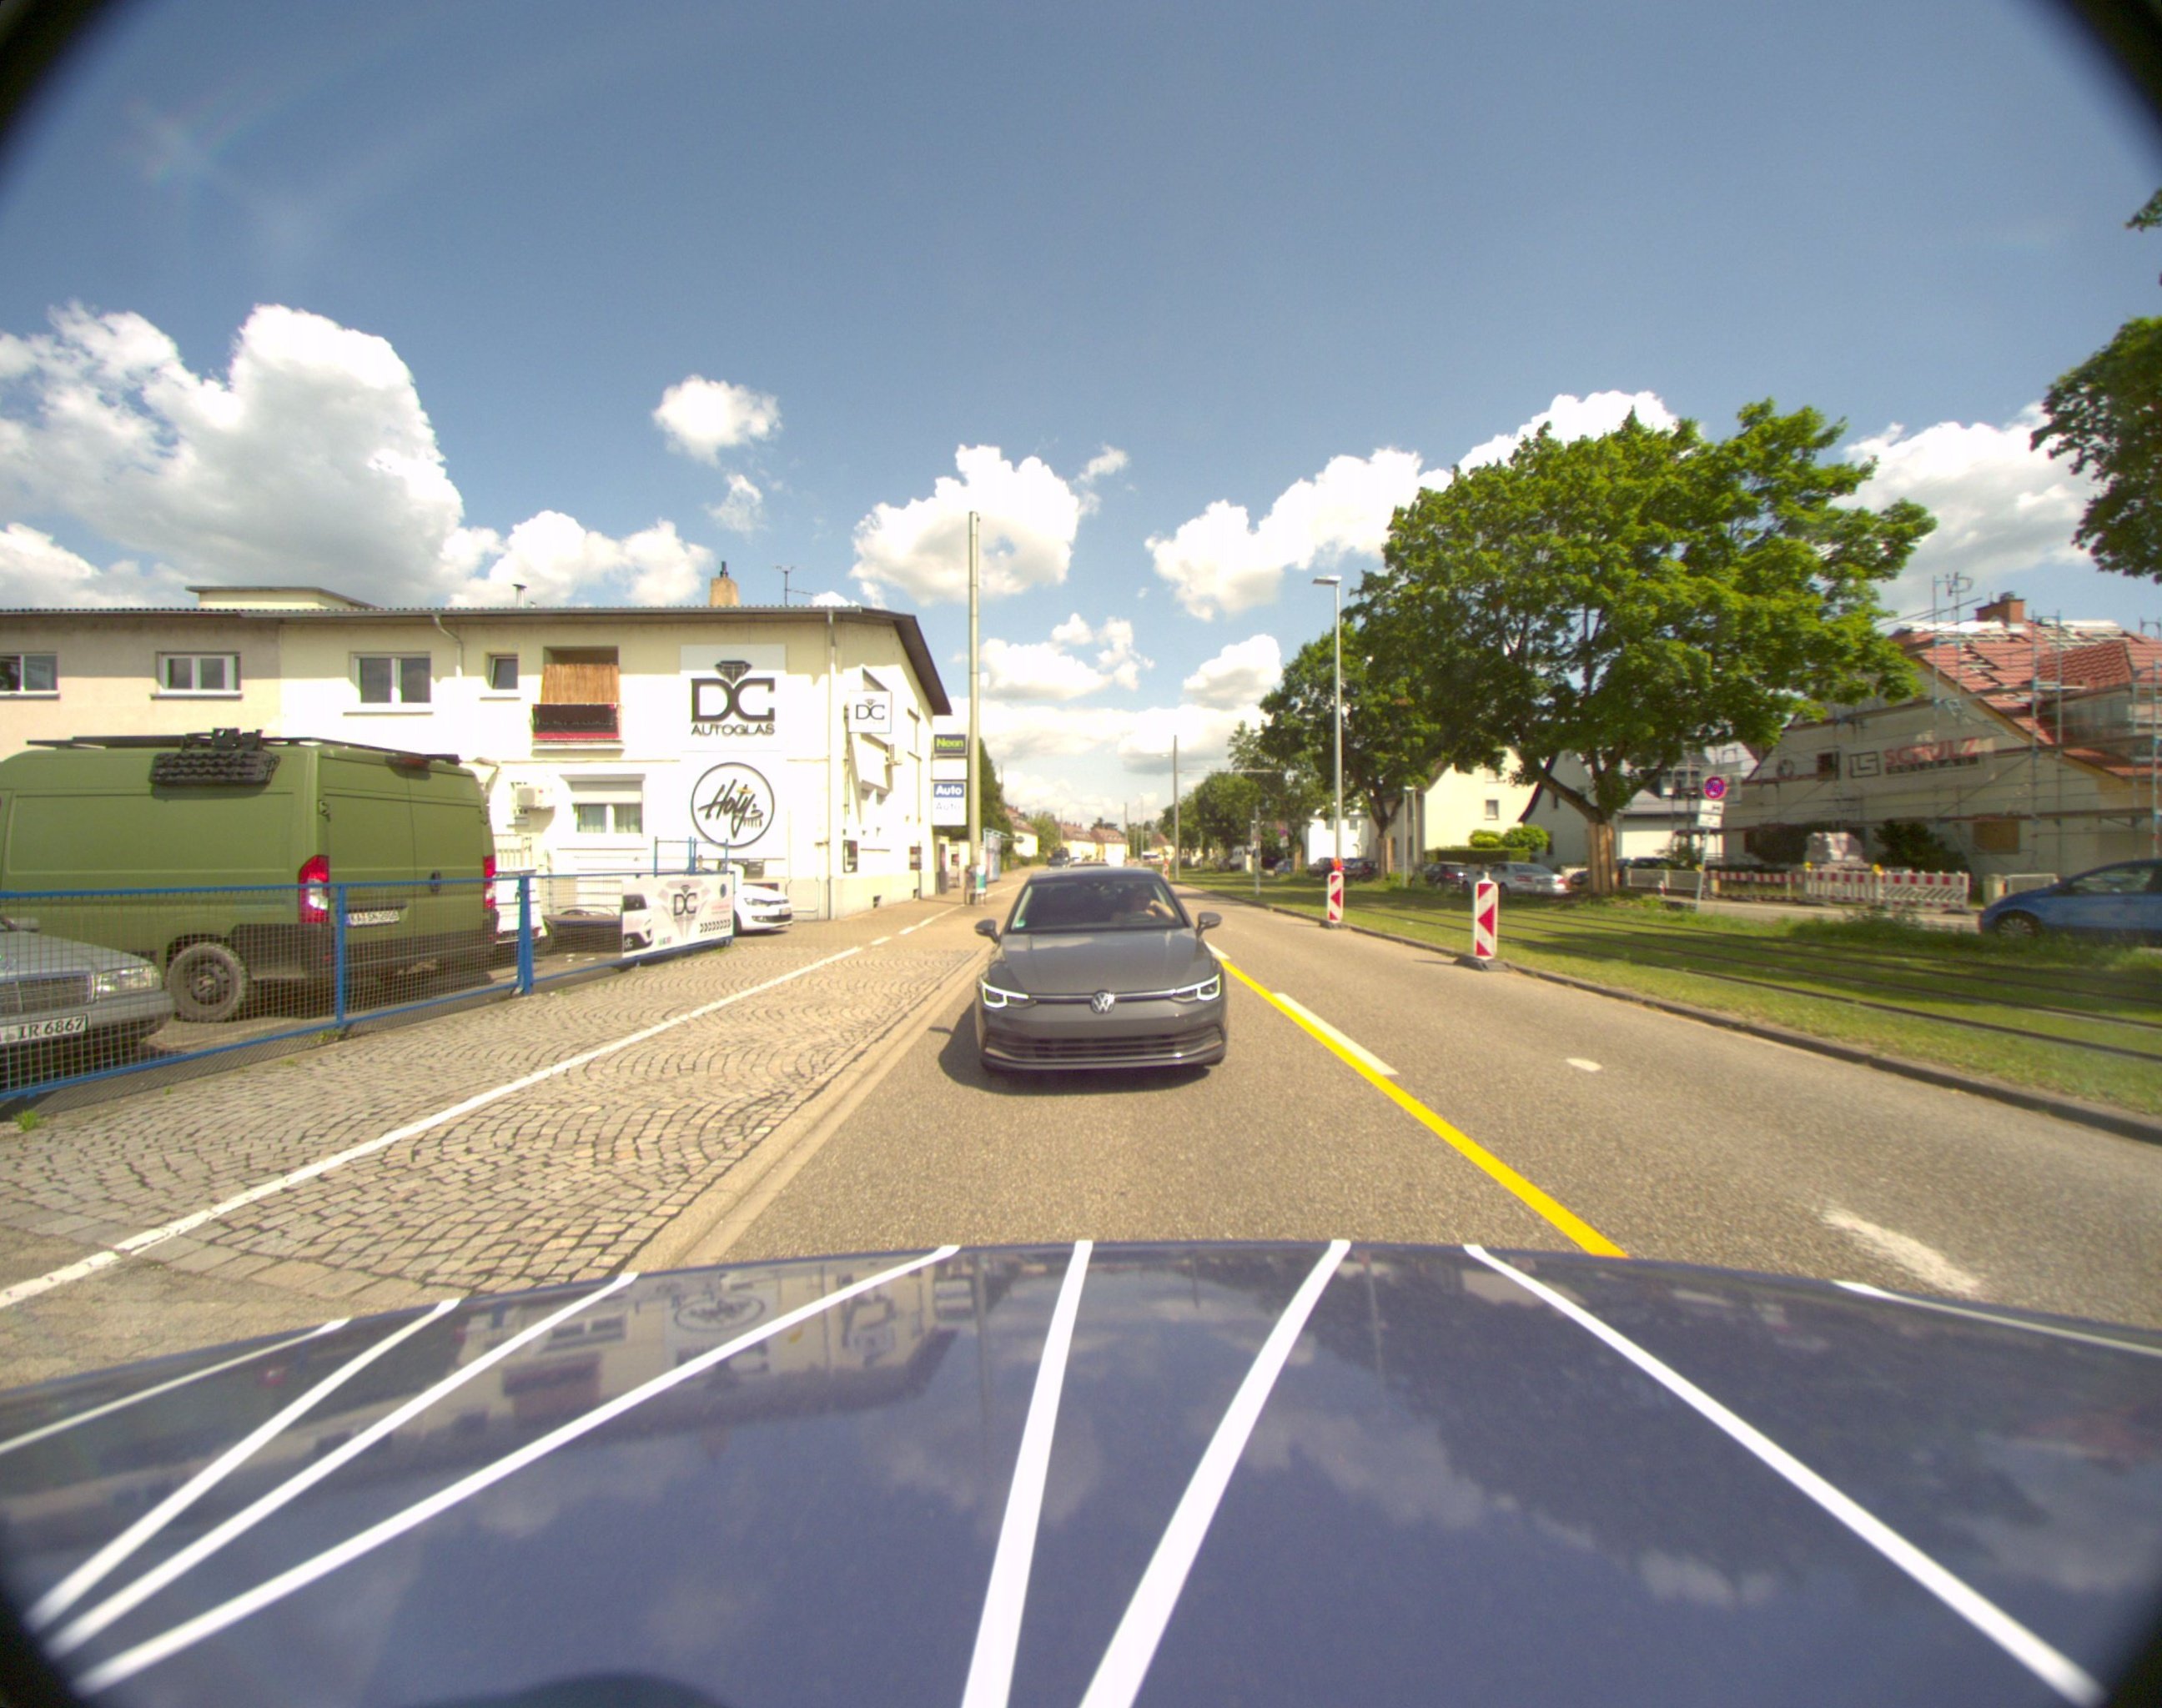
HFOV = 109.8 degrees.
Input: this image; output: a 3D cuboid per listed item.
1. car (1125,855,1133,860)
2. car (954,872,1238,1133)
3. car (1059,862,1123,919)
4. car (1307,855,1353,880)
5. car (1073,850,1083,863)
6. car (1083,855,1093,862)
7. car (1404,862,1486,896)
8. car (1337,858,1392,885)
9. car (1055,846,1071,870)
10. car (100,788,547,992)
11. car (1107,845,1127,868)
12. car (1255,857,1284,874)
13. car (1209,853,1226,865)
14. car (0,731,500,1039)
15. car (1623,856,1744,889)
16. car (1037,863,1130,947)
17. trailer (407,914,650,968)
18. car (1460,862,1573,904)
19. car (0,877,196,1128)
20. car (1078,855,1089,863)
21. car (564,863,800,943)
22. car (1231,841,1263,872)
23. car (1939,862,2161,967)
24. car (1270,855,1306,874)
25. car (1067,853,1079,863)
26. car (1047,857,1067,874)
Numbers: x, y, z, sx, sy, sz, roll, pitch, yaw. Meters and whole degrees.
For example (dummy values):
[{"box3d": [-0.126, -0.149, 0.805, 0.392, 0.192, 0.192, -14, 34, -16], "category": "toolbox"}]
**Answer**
[{"box3d": [13.806, 0.956, 218.687, 1.700, 1.574, 4.005, 0, 0, 16], "category": "car"}, {"box3d": [0.119, 0.940, 6.566, 1.702, 1.477, 4.000, 0, 0, 1], "category": "car"}, {"box3d": [0.288, 0.986, 22.232, 1.702, 1.477, 4.000, 0, 0, 1], "category": "car"}, {"box3d": [16.545, 0.905, 50.666, 1.702, 1.562, 4.407, -1, -1, 1], "category": "car"}, {"box3d": [-0.501, 0.428, 136.407, 1.701, 2.233, 4.947, 0, 0, 2], "category": "car"}, {"box3d": [1.430, 0.915, 155.842, 1.701, 1.574, 4.002, 0, 0, 7], "category": "car"}, {"box3d": [16.617, 1.127, 34.942, 1.702, 1.477, 4.407, -1, -1, 1], "category": "car"}, {"box3d": [16.761, 1.042, 45.160, 1.702, 1.477, 4.407, -1, -1, 1], "category": "car"}, {"box3d": [-1.924, 0.455, 82.443, 1.702, 2.510, 5.144, 0, 0, 0], "category": "car"}, {"box3d": [-9.507, 0.427, 9.752, 4.207, 2.392, 1.586, 0, 0, 2], "category": "car"}, {"box3d": [3.945, 0.282, 84.506, 2.090, 2.449, 5.842, 2, 0, 2], "category": "car"}, {"box3d": [17.636, 1.085, 71.332, 1.702, 1.477, 4.407, -1, -1, 1], "category": "car"}, {"box3d": [18.759, 0.683, 104.737, 1.701, 1.477, 4.407, -1, -1, 2], "category": "car"}, {"box3d": [-8.733, 0.274, 7.613, 4.207, 2.627, 2.113, 0, 0, 2], "category": "car"}, {"box3d": [28.897, 0.897, 36.516, 4.402, 1.477, 1.704, -1, -1, 1], "category": "car"}, {"box3d": [0.072, 0.945, 15.816, 1.702, 1.477, 4.000, 0, 0, 1], "category": "car"}, {"box3d": [-8.375, 1.310, 11.663, 2.733, 0.662, 1.329, 0, 0, -1], "category": "trailer"}, {"box3d": [16.412, 1.072, 28.941, 1.788, 1.477, 4.523, -1, -1, 2], "category": "car"}, {"box3d": [-8.466, 0.891, 4.777, 4.282, 1.444, 1.713, 0, 0, 8], "category": "car"}, {"box3d": [0.472, 0.911, 146.711, 1.701, 1.574, 4.002, 0, 0, 6], "category": "car"}, {"box3d": [-7.669, 0.919, 14.821, 3.775, 1.454, 1.555, 0, 0, 2], "category": "car"}, {"box3d": [16.807, 0.281, 77.276, 2.136, 3.019, 5.084, -1, -1, 1], "category": "car"}, {"box3d": [16.205, 0.872, 11.404, 1.702, 1.477, 4.407, -1, -1, 1], "category": "car"}, {"box3d": [16.634, 0.882, 61.286, 1.702, 1.477, 4.407, -1, -1, 1], "category": "car"}, {"box3d": [-1.327, 0.680, 123.044, 1.701, 1.574, 4.001, 0, 0, 3], "category": "car"}, {"box3d": [-2.196, 1.053, 70.758, 1.702, 1.574, 4.000, 0, 0, 1], "category": "car"}]
